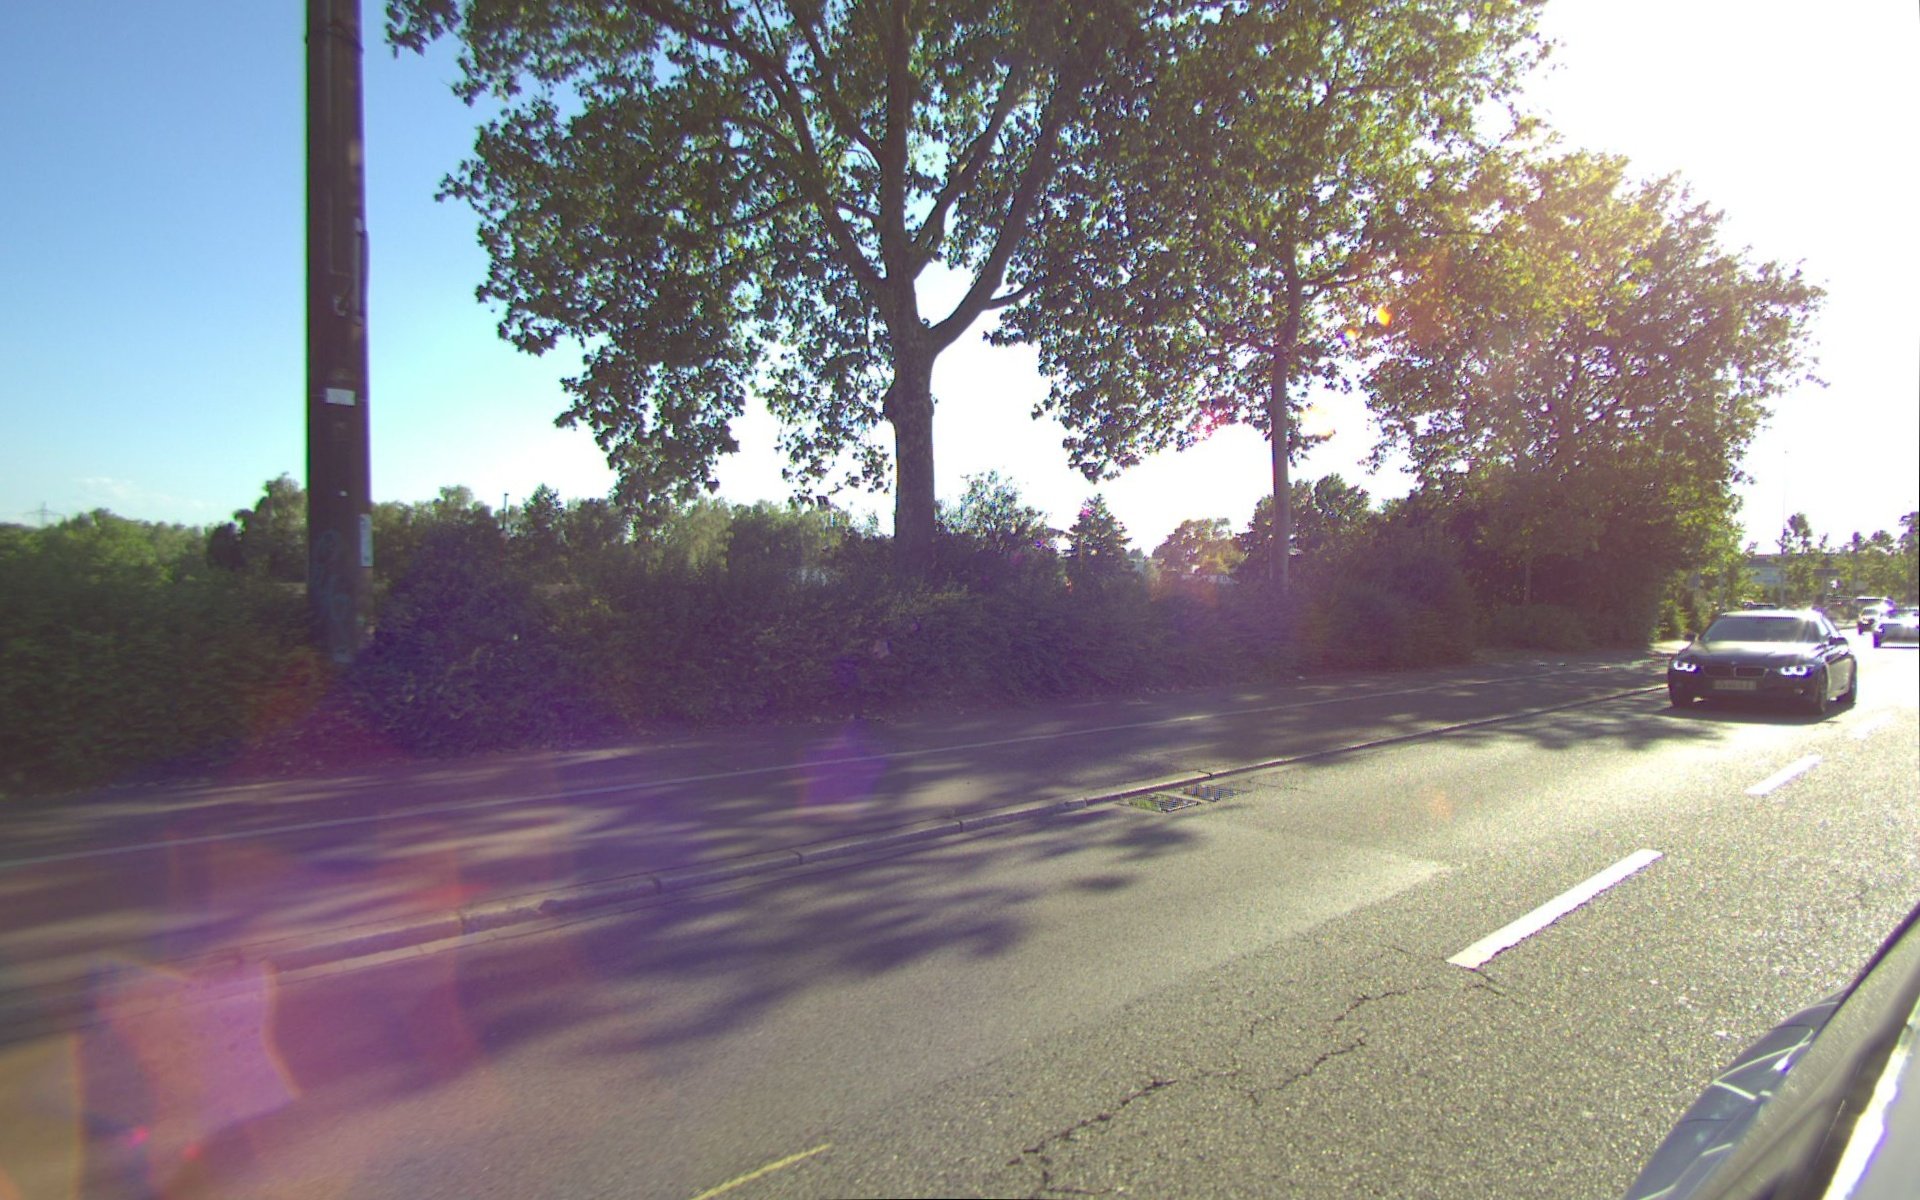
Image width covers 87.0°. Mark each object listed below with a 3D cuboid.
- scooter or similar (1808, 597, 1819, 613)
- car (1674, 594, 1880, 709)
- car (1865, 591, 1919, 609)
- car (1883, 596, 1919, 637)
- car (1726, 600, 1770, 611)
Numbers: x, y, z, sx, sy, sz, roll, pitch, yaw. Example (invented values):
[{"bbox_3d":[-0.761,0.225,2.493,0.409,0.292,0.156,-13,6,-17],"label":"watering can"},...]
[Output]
[{"bbox_3d":[65.705,0.384,77.905,0.522,1.246,1.250,1,1,36],"label":"scooter or similar"},{"bbox_3d":[12.650,0.670,15.562,4.509,1.486,1.868,-1,0,-43],"label":"car"},{"bbox_3d":[116.662,0.013,126.314,2.067,2.048,5.343,1,-1,-41],"label":"car"},{"bbox_3d":[35.208,0.589,37.060,3.914,1.441,1.853,0,0,-44],"label":"car"},{"bbox_3d":[112.028,0.808,143.937,1.827,1.589,4.654,0,-1,-42],"label":"car"}]
